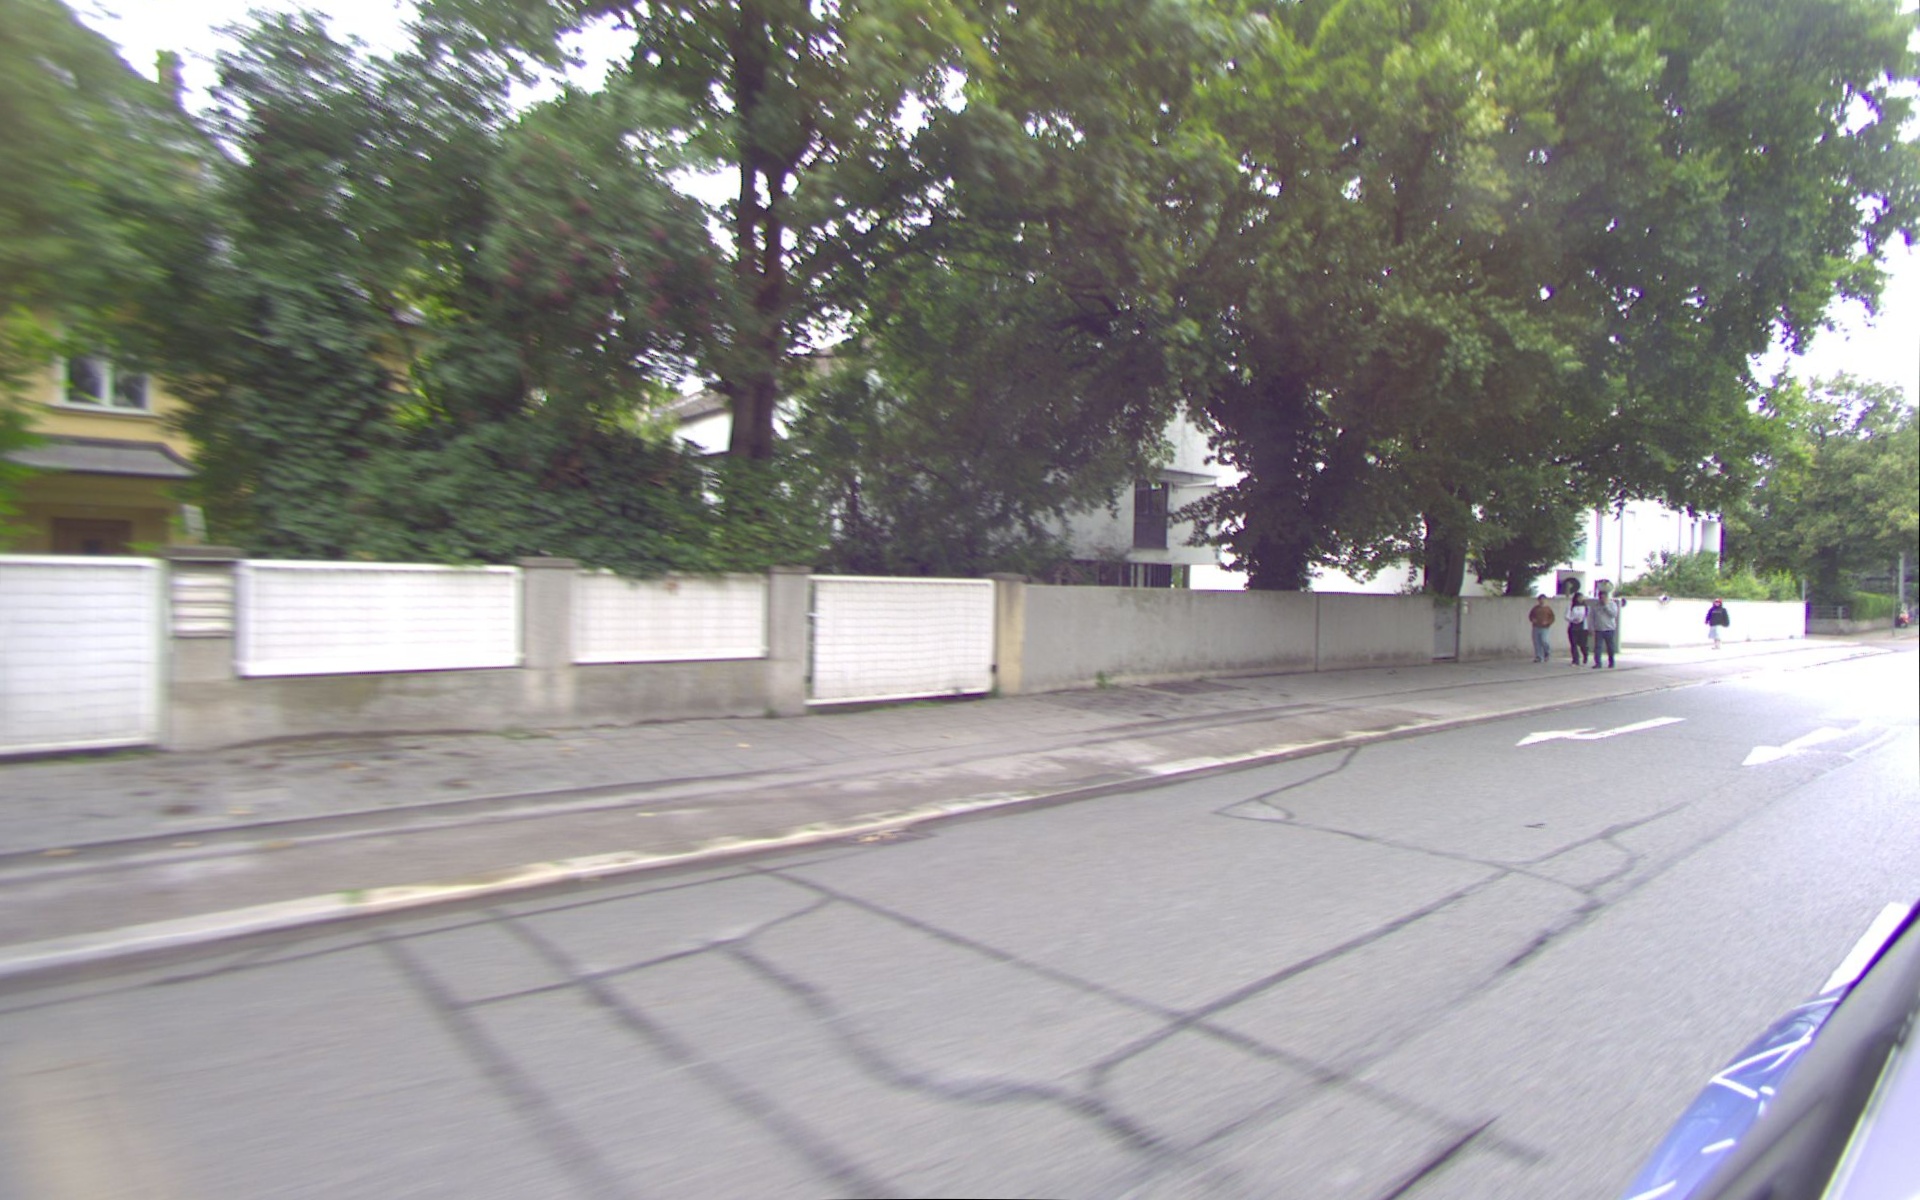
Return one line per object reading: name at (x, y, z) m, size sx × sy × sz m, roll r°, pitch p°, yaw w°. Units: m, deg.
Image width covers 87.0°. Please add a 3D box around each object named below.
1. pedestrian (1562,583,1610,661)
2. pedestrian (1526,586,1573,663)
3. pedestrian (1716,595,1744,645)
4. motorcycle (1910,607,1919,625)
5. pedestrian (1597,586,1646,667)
pedestrian at (14.250, 0.492, 23.042) m, size 0.716 × 1.713 × 0.667 m, roll 1°, pitch 2°, yaw -41°
pedestrian at (13.771, 0.564, 23.635) m, size 0.753 × 1.726 × 0.667 m, roll 1°, pitch 2°, yaw -41°
pedestrian at (25.369, 0.647, 33.347) m, size 0.716 × 1.600 × 0.529 m, roll 1°, pitch 2°, yaw -41°
motorcycle at (62.791, 1.023, 66.410) m, size 0.494 × 1.156 × 1.610 m, roll 1°, pitch 0°, yaw 39°
pedestrian at (14.729, 0.583, 22.541) m, size 0.716 × 1.743 × 0.667 m, roll 1°, pitch 2°, yaw -41°
